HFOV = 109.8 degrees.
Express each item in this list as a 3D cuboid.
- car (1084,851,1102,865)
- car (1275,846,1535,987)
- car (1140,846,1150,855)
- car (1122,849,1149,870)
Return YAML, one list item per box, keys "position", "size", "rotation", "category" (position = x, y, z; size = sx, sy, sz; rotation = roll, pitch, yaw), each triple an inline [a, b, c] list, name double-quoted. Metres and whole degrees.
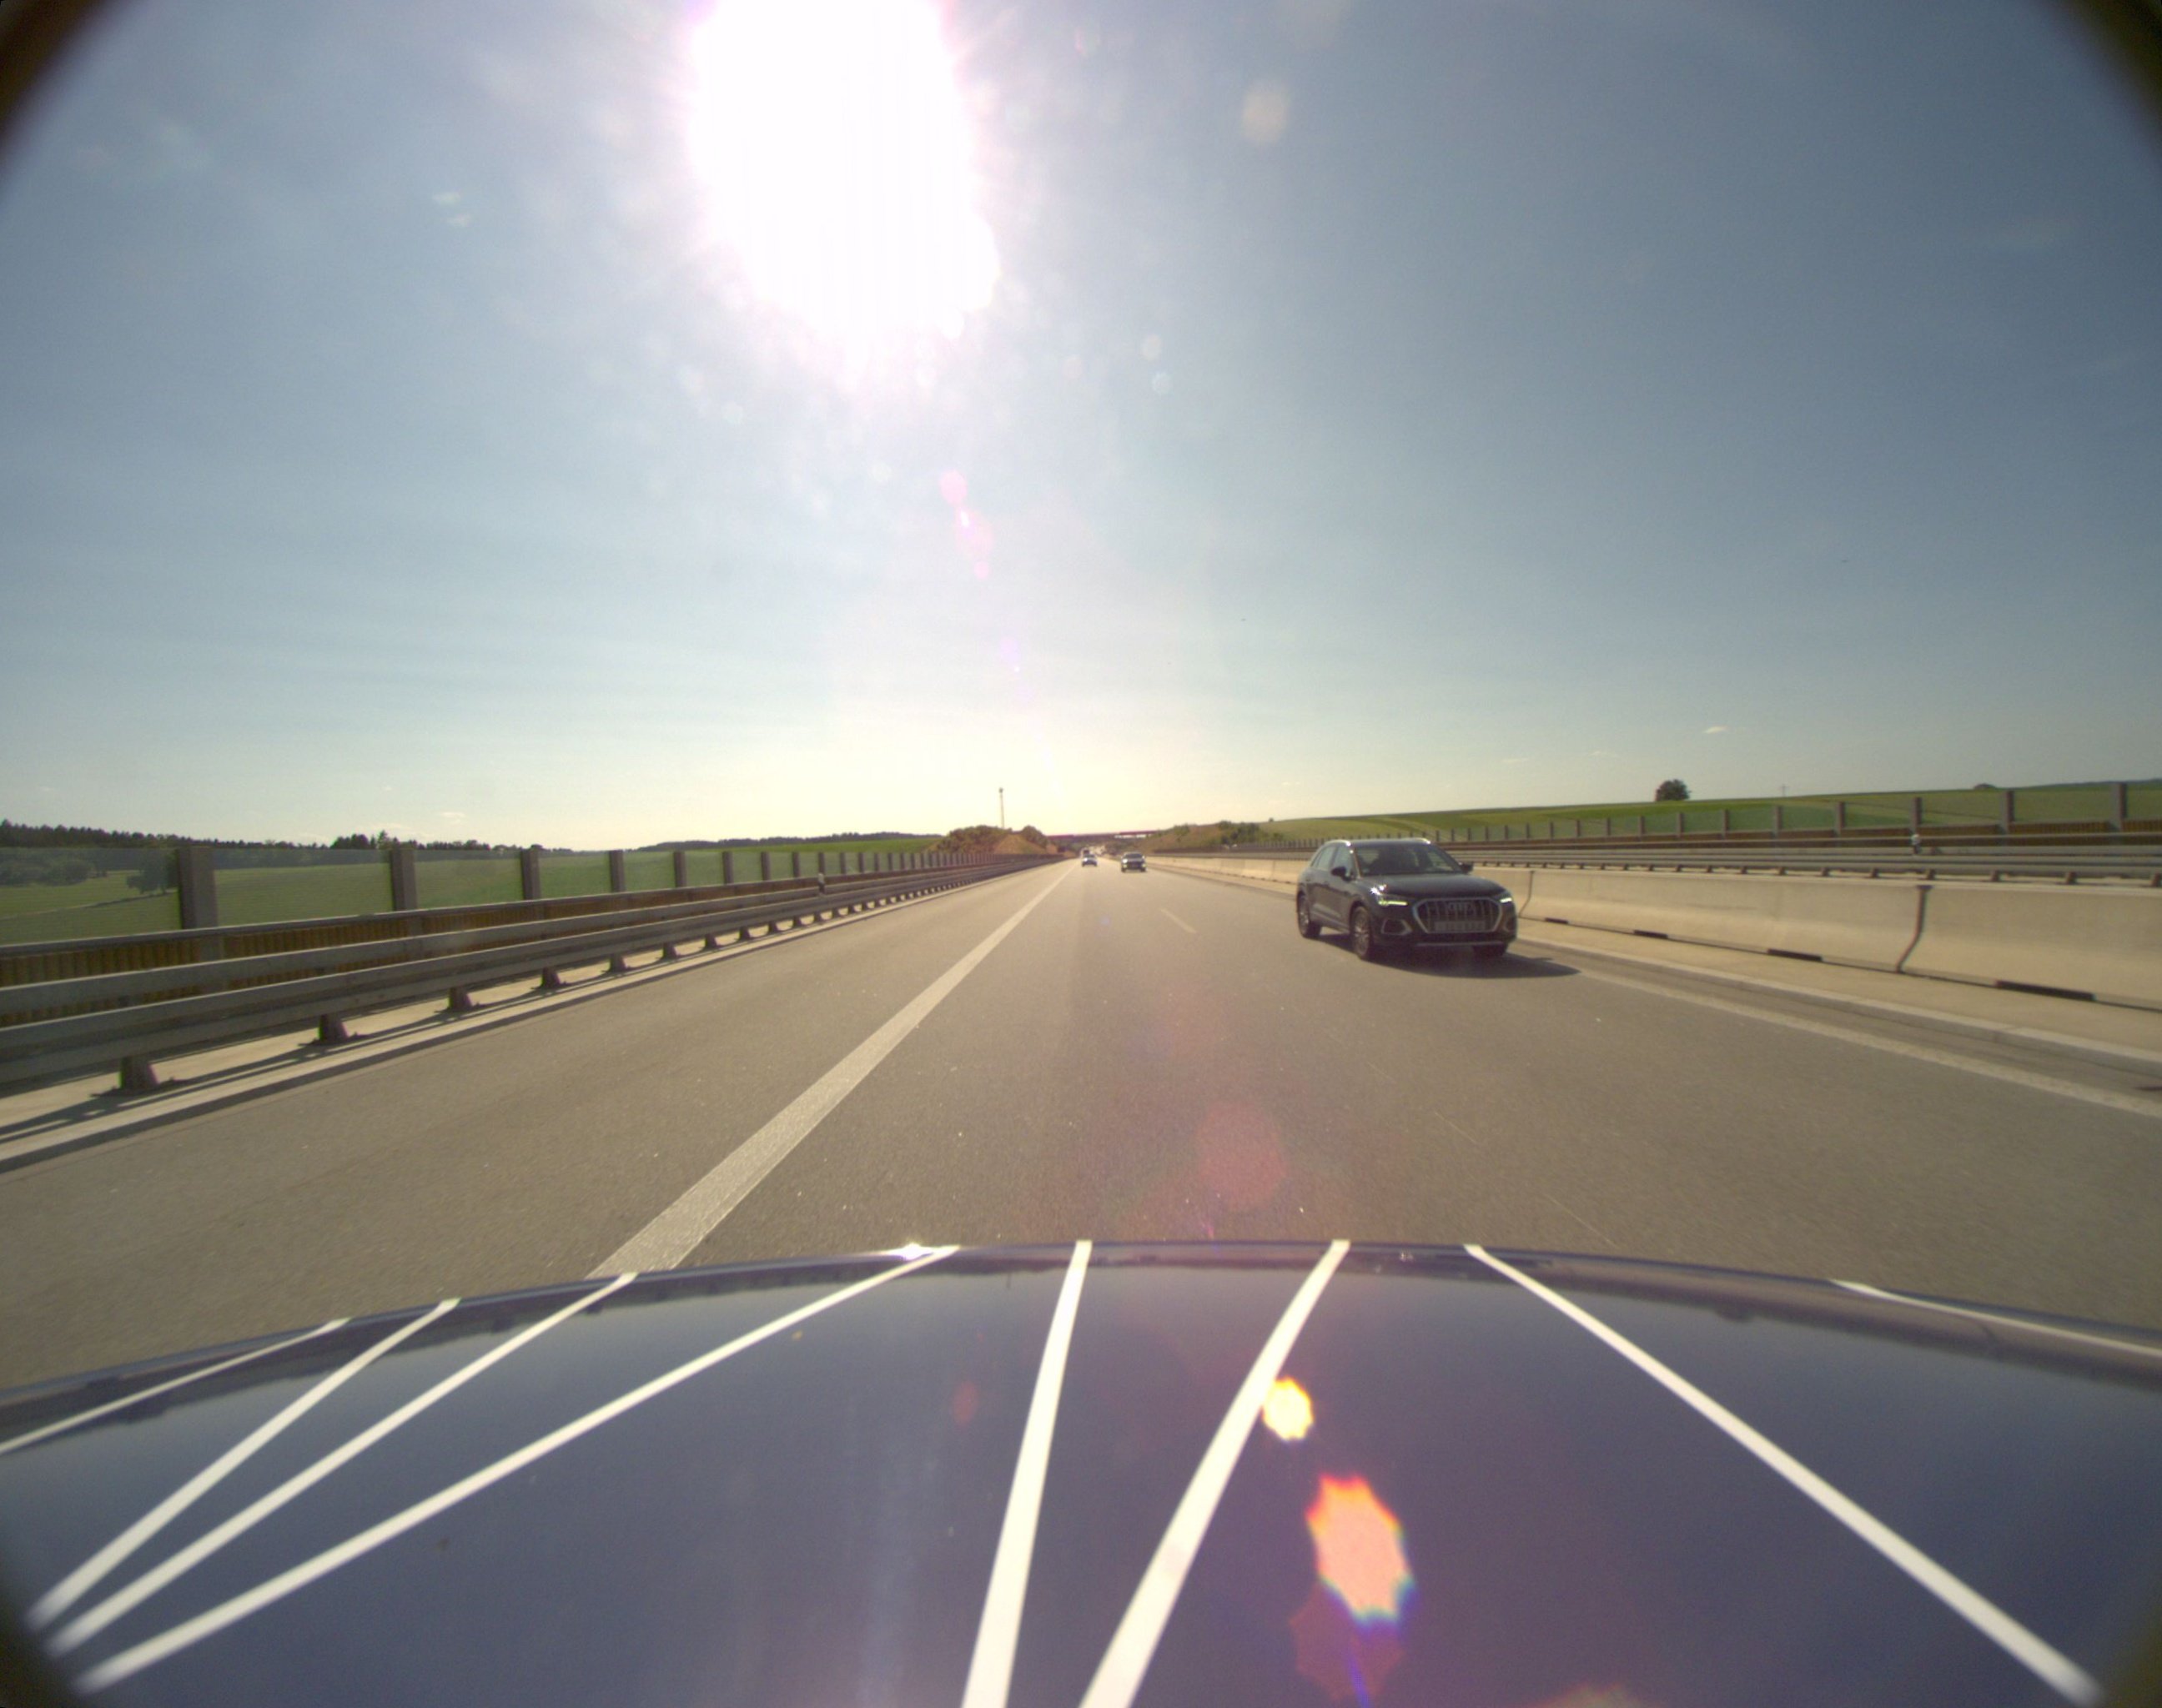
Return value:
- position: [1.432, 0.467, 89.742]
  size: [1.909, 1.449, 4.375]
  rotation: [-2, 1, 2]
  category: "car"
- position: [4.432, 0.701, 11.442]
  size: [1.726, 1.578, 5.222]
  rotation: [-2, 1, 1]
  category: "car"
- position: [15.311, -0.848, 181.774]
  size: [1.998, 2.002, 4.761]
  rotation: [-2, 1, 2]
  category: "car"
- position: [4.278, 0.389, 60.347]
  size: [1.776, 1.560, 4.988]
  rotation: [-2, 1, 1]
  category: "car"
